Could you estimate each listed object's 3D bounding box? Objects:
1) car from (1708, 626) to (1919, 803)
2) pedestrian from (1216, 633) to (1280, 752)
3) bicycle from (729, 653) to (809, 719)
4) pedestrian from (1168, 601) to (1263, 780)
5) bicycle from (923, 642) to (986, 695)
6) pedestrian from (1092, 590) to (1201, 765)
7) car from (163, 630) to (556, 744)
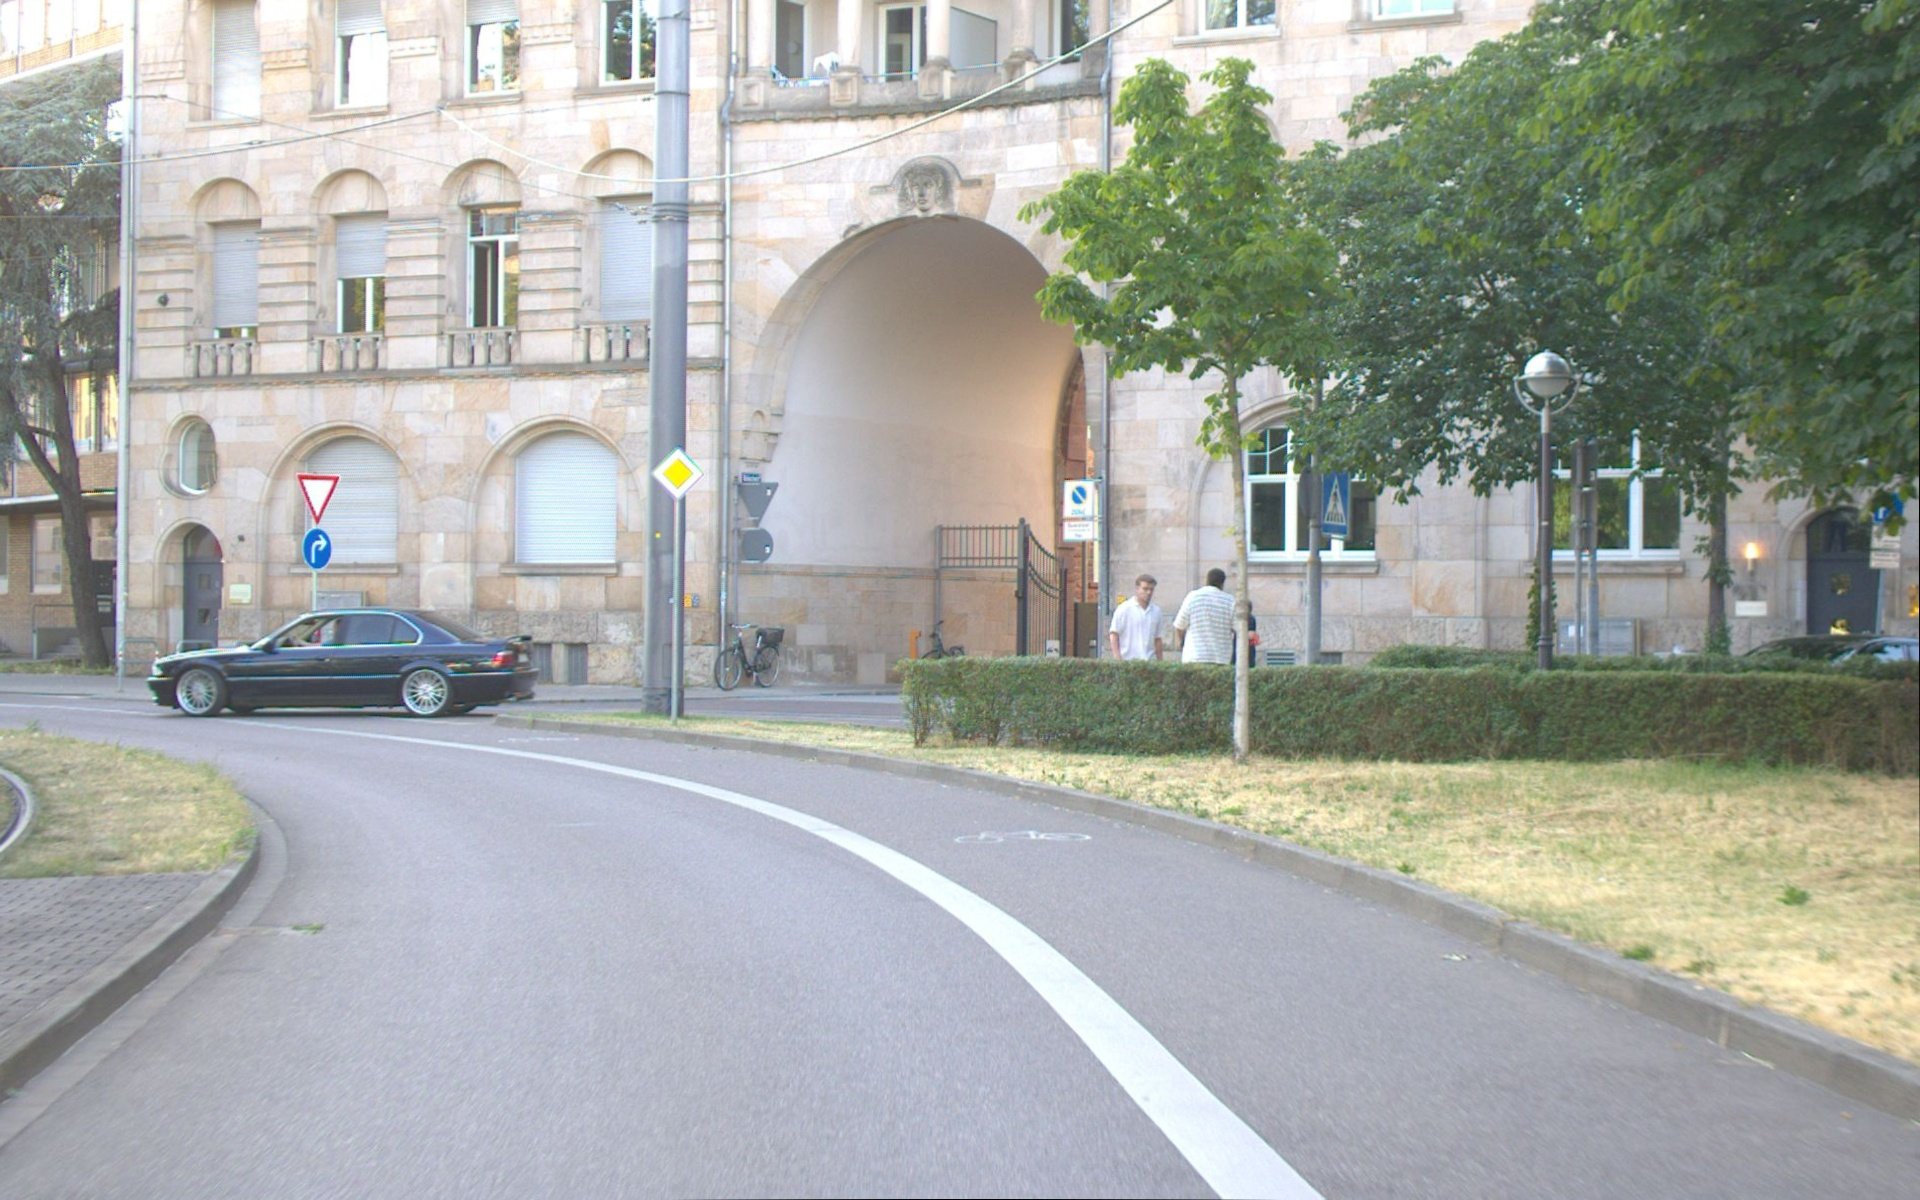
[{"bbox_3d":[9.137,1.047,33.103,1.864,1.551,4.057,1,1,45],"label":"car"},{"bbox_3d":[4.211,1.346,50.309,0.720,1.703,0.576,1,0,33],"label":"pedestrian"},{"bbox_3d":[-3.234,1.450,58.293,0.428,1.069,1.853,1,1,29],"label":"bicycle"},{"bbox_3d":[2.594,0.910,34.954,0.590,1.786,0.821,1,0,-28],"label":"pedestrian"},{"bbox_3d":[-0.103,1.257,63.390,0.481,0.952,1.510,1,1,29],"label":"bicycle"},{"bbox_3d":[1.852,0.762,34.201,0.767,1.710,0.786,1,0,-29],"label":"pedestrian"},{"bbox_3d":[-7.665,1.108,44.114,4.627,1.349,1.836,-1,0,5],"label":"car"}]
